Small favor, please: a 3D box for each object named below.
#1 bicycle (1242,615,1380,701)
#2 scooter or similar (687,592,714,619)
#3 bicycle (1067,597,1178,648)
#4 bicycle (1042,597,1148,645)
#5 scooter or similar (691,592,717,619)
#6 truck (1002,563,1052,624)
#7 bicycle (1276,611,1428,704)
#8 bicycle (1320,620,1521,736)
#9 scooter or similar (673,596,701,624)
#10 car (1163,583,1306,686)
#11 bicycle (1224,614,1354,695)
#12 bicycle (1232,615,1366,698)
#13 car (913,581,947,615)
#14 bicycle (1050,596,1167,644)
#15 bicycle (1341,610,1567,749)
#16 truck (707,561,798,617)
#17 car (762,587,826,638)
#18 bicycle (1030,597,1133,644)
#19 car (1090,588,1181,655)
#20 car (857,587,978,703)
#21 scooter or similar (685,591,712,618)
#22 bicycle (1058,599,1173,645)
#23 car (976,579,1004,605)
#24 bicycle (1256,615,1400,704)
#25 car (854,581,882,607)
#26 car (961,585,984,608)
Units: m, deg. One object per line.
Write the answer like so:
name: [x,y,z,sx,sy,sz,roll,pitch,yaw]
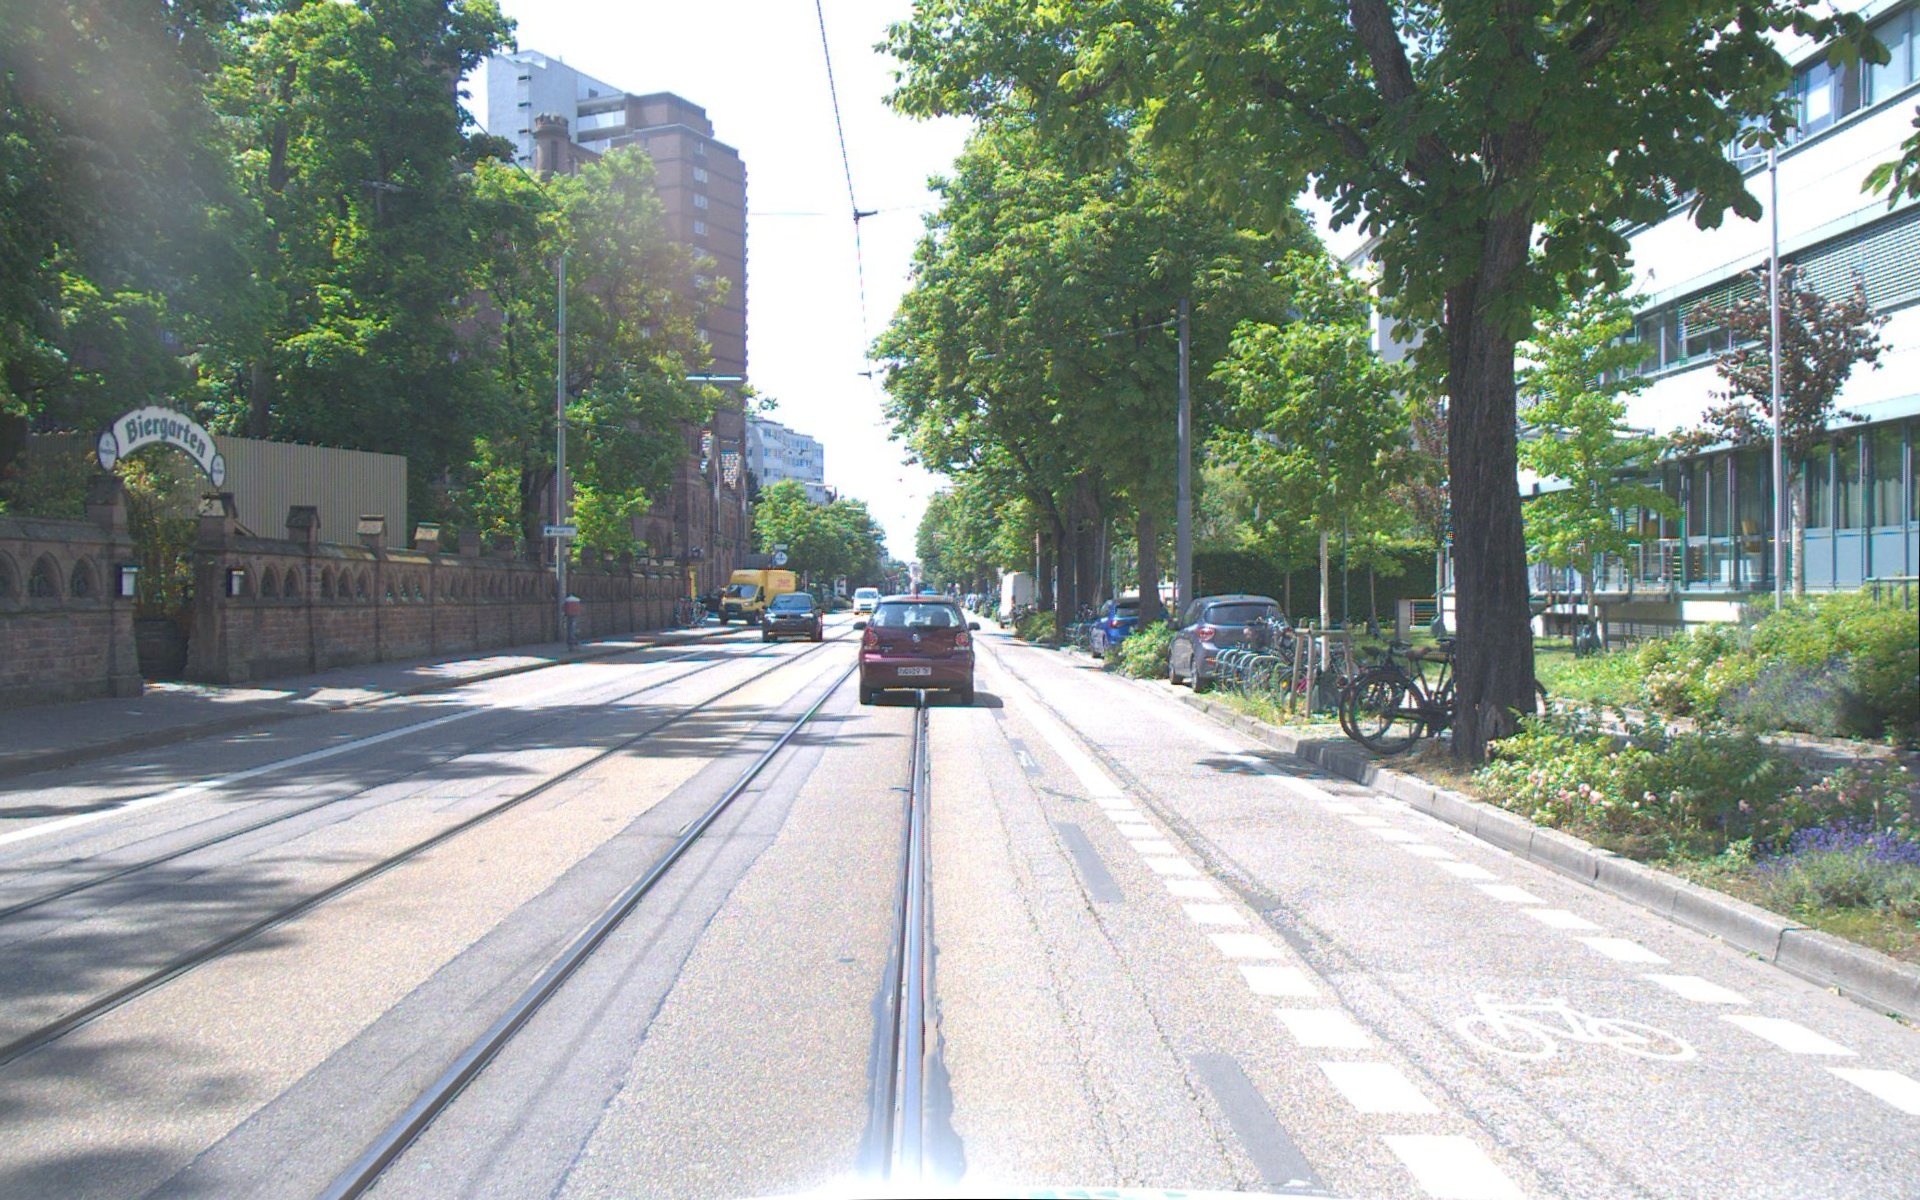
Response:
bicycle: [4.681,0.768,22.084,1.715,1.104,0.548,-1,0,-2]
scooter or similar: [-11.454,0.230,73.115,1.073,1.175,0.524,1,0,-23]
bicycle: [4.543,0.625,46.353,3.008,1.336,0.781,1,0,-3]
bicycle: [3.971,0.622,48.795,3.008,1.336,0.781,1,0,-3]
scooter or similar: [-11.506,0.242,74.373,1.073,1.175,0.524,1,0,-23]
truck: [3.068,-0.336,76.931,1.953,2.708,4.874,1,1,-2]
bicycle: [4.769,0.693,20.171,1.715,1.104,0.548,-1,0,-2]
bicycle: [4.529,0.761,16.368,1.787,1.104,0.718,-1,-1,2]
scooter or similar: [-11.627,0.428,70.507,1.073,1.175,0.524,1,0,-23]
car: [4.476,0.522,27.427,1.654,1.529,3.626,-2,0,-2]
bicycle: [4.633,0.758,23.340,1.715,1.104,0.548,-1,0,-2]
bicycle: [4.638,0.766,22.692,1.715,1.104,0.548,-1,0,-2]
car: [-1.901,-0.148,104.530,1.954,2.049,3.998,1,1,-3]
bicycle: [4.286,0.573,47.891,3.300,1.336,0.781,1,0,-3]
bicycle: [4.499,0.711,15.134,1.845,1.203,0.694,-1,0,-2]
truck: [-10.976,-0.592,88.146,2.319,2.835,7.325,0,0,14]
car: [-5.340,0.372,53.530,1.734,1.542,3.999,0,0,-1]
bicycle: [3.638,0.614,49.761,3.008,1.336,0.781,1,0,-3]
car: [4.157,0.479,39.646,1.654,1.494,3.878,0,0,-2]
car: [-0.627,0.576,23.939,1.586,1.512,3.999,-1,1,-2]
scooter or similar: [-11.666,0.187,73.699,1.073,1.175,0.524,1,0,-23]
bicycle: [4.204,0.598,44.901,3.008,1.175,0.781,1,0,-3]
car: [1.966,-0.534,108.429,1.640,1.685,3.999,1,1,-2]
bicycle: [4.720,0.760,21.267,1.715,1.104,0.548,-1,0,-2]
car: [-6.772,-0.432,122.051,1.953,1.887,4.681,0,0,-1]
car: [0.933,-0.286,125.677,1.640,1.685,3.999,1,1,-2]
